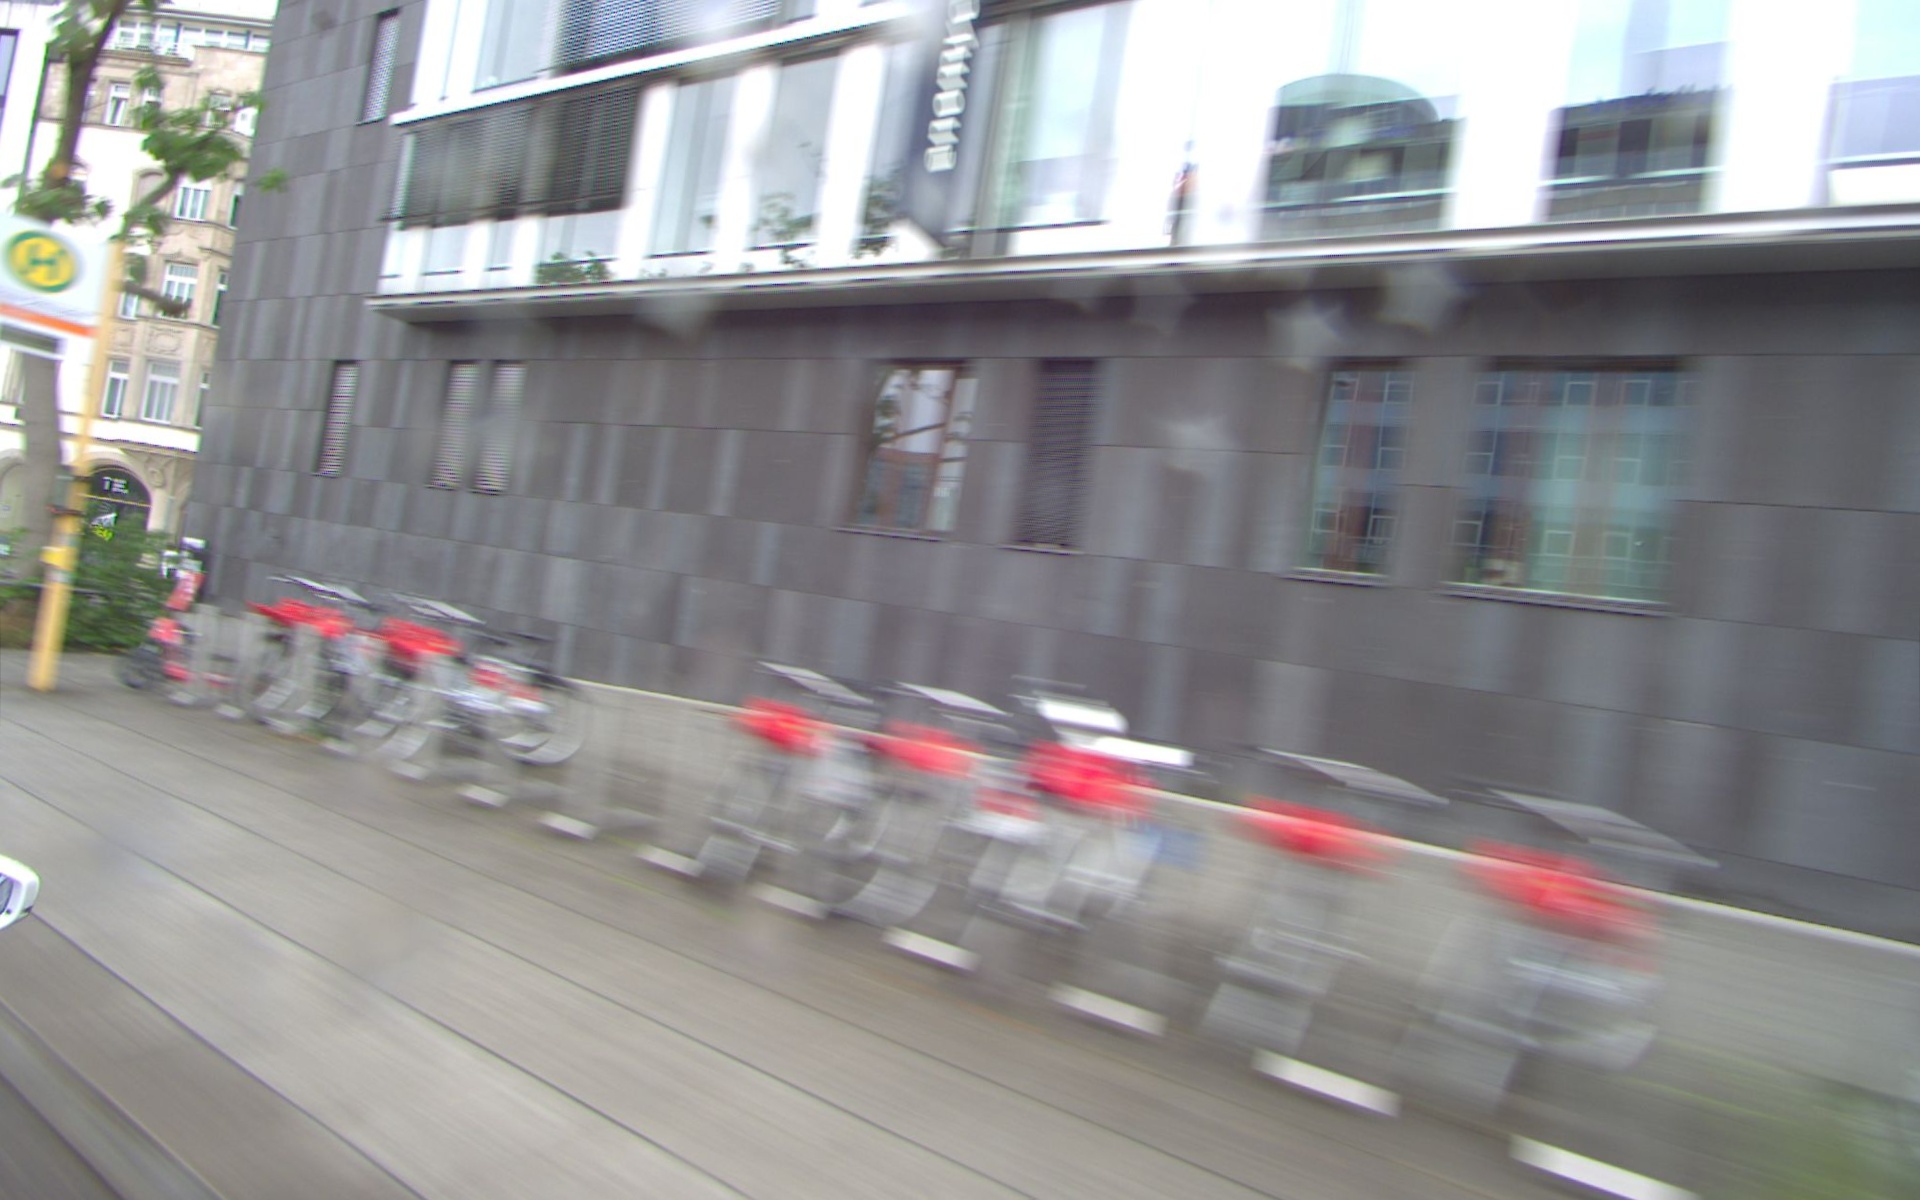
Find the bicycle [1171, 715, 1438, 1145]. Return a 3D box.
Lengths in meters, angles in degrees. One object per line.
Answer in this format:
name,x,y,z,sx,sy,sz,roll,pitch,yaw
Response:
bicycle,1.441,1.116,4.012,0.677,1.197,1.736,7,-2,25

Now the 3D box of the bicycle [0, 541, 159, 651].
bicycle,-10.592,-0.055,11.716,0.546,1.079,1.802,6,-5,26

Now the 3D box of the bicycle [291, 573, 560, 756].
bicycle,-3.871,0.501,7.432,0.677,1.152,1.540,6,-3,25

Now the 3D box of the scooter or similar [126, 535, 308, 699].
scooter or similar,-6.306,0.180,8.597,0.297,1.271,1.110,6,-3,24

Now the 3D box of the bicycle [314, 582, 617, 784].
bicycle,-3.311,0.586,6.932,0.677,1.152,1.712,6,-3,25

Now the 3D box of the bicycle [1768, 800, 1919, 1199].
bicycle,2.905,1.262,2.659,0.677,1.197,1.736,7,-2,25

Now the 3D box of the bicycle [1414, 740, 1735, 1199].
bicycle,2.123,1.194,3.716,0.677,1.197,1.736,7,-2,25

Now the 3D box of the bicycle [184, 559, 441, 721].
bicycle,-5.217,0.371,8.220,0.651,1.152,1.540,6,-3,25

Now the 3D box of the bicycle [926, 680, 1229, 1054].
bicycle,0.612,1.011,4.394,0.677,1.197,1.736,7,-2,25

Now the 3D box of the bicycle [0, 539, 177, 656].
bicycle,-9.951,-0.025,11.173,0.546,1.079,1.802,6,-5,26

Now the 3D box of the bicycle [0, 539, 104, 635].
bicycle,-12.558,-0.232,13.181,0.658,1.119,1.802,6,-5,25

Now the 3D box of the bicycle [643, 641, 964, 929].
bicycle,-0.709,0.878,5.234,0.677,1.153,1.736,7,-2,25

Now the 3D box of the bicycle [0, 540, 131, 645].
bicycle,-11.183,-0.120,12.011,0.546,1.079,1.802,6,-5,26

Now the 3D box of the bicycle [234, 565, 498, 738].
bicycle,-4.537,0.433,7.816,0.677,1.152,1.540,6,-3,25

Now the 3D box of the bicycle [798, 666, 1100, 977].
bicycle,0.043,0.973,4.938,0.677,1.153,1.736,7,-2,25

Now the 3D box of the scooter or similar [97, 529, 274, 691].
scooter or similar,-6.656,0.118,8.698,0.297,1.271,1.064,6,-3,24
